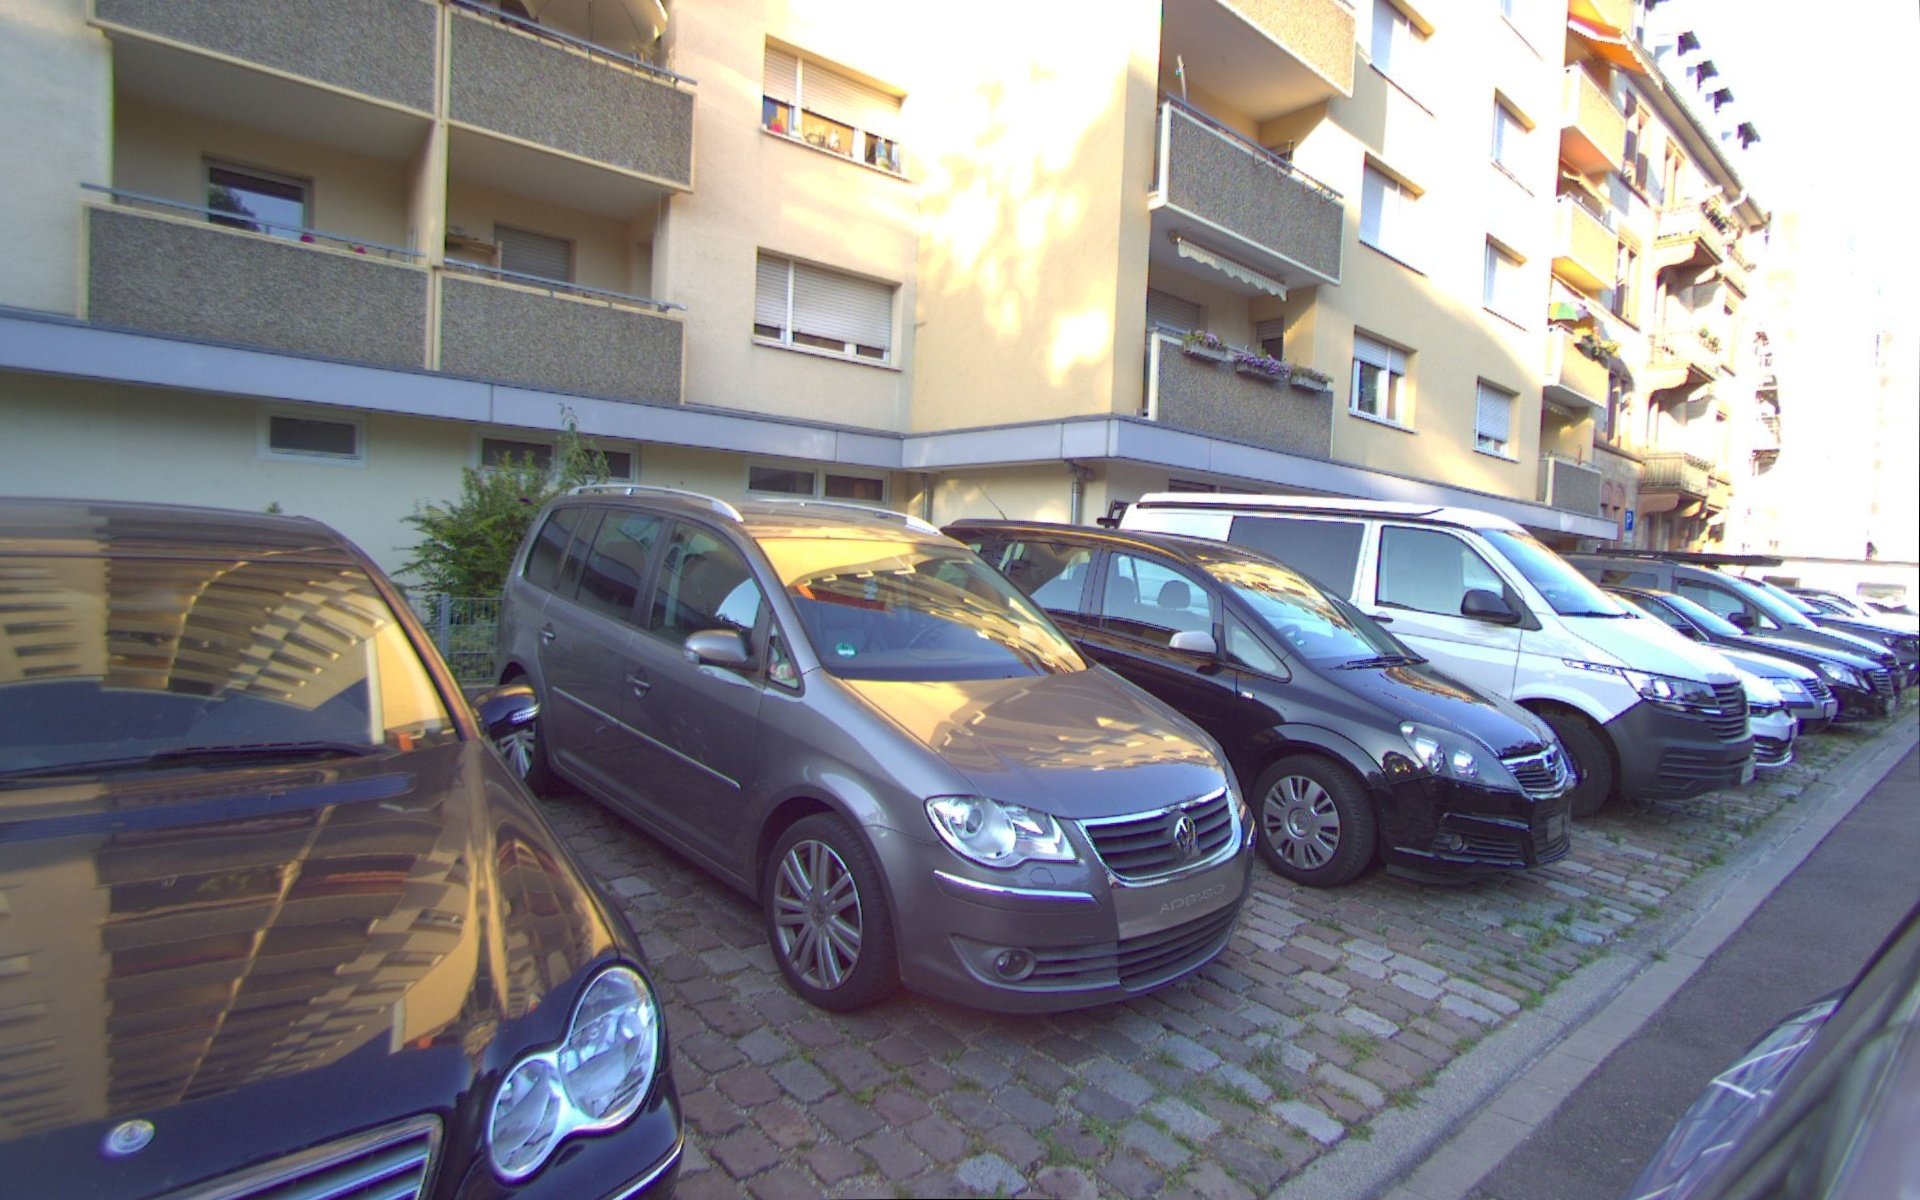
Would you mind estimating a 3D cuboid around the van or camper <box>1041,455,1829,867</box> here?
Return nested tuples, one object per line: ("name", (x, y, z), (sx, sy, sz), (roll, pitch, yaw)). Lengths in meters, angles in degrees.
("van or camper", (3.283, 0.067, 8.042), (2.006, 2.192, 5.144), (0, 7, -43))

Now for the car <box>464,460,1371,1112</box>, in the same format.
("car", (-0.664, 0.242, 4.793), (1.815, 1.680, 4.412), (-2, 7, -43))

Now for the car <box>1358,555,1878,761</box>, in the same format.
("car", (6.944, 0.413, 11.114), (1.814, 1.611, 4.413), (-2, 6, -41))

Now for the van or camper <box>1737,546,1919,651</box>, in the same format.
("van or camper", (24.936, -0.016, 27.174), (2.014, 2.534, 6.074), (1, 4, -41))

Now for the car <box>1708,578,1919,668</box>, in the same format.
("car", (19.155, 0.446, 21.894), (1.813, 1.572, 4.415), (-2, 6, -40))

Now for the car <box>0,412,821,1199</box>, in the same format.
("car", (-2.441, 0.380, 2.948), (1.815, 1.549, 4.411), (-2, 6, -43))

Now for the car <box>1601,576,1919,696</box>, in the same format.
("car", (14.061, 0.499, 17.711), (1.813, 1.572, 4.416), (-2, 5, -39))

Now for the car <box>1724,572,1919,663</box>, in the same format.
("car", (20.913, 0.363, 23.725), (1.812, 1.769, 4.418), (-1, 5, -37))

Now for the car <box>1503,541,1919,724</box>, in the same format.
("car", (10.513, 0.256, 14.250), (1.814, 2.004, 4.647), (-2, 6, -41))

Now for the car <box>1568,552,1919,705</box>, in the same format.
("car", (12.327, 0.321, 15.712), (1.814, 1.885, 4.522), (0, 4, -42))

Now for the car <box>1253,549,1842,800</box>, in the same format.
("car", (5.225, 0.434, 9.554), (1.814, 1.650, 4.413), (-2, 6, -41))

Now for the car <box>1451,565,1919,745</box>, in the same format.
("car", (8.721, 0.482, 12.467), (1.814, 1.581, 4.413), (-2, 6, -41))

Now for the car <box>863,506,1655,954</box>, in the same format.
("car", (1.441, 0.364, 6.247), (1.752, 1.680, 4.334), (-2, 7, -43))

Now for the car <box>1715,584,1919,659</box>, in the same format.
("car", (22.295, 0.484, 25.925), (1.813, 1.638, 4.414), (-2, 4, -40))
